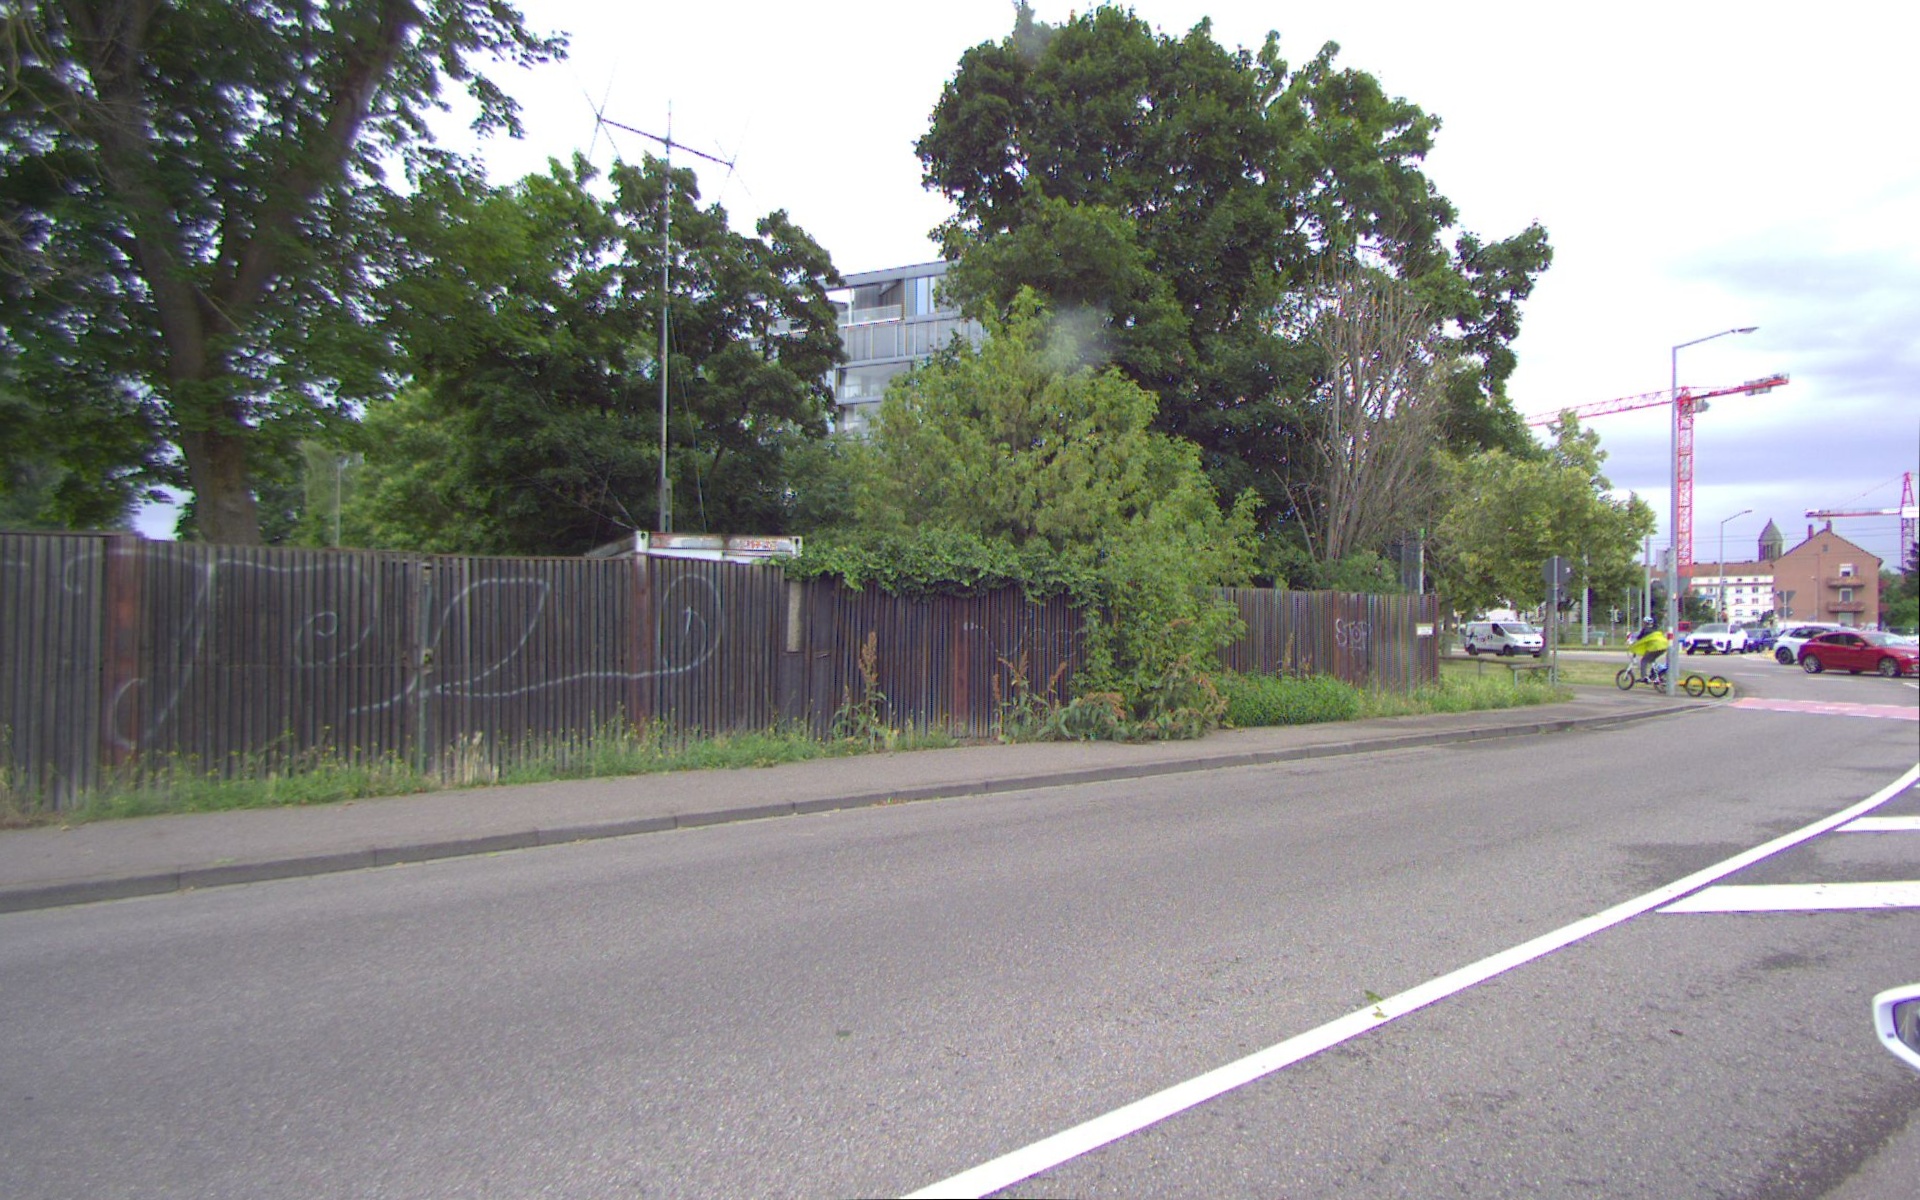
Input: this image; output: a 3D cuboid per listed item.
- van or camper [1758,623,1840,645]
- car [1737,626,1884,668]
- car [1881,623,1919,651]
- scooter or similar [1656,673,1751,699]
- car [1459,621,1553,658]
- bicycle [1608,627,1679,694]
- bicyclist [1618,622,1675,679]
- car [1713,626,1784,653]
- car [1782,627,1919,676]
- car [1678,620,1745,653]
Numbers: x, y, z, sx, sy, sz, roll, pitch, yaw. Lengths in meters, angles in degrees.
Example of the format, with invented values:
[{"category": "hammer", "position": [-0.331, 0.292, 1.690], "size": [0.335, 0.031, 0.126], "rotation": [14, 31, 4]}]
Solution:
[{"category": "van or camper", "position": [82.704, 3.326, 99.144], "size": [1.969, 2.040, 6.171], "rotation": [1, -1, -19]}, {"category": "car", "position": [33.241, 1.802, 39.393], "size": [1.970, 1.528, 3.981], "rotation": [1, -1, -21]}, {"category": "car", "position": [58.966, 2.248, 60.681], "size": [4.580, 1.656, 2.001], "rotation": [0, -1, 10]}, {"category": "scooter or similar", "position": [17.702, 2.036, 23.958], "size": [0.909, 0.511, 1.608], "rotation": [1, -1, -13]}, {"category": "car", "position": [29.672, 2.133, 54.782], "size": [2.060, 1.925, 4.842], "rotation": [1, -1, -8]}, {"category": "bicycle", "position": [17.353, 1.515, 25.539], "size": [0.595, 1.633, 1.478], "rotation": [1, -1, -13]}, {"category": "bicyclist", "position": [17.382, 1.270, 25.438], "size": [0.604, 1.420, 1.062], "rotation": [1, -1, -13]}, {"category": "car", "position": [45.746, 2.288, 58.283], "size": [3.953, 1.509, 1.922], "rotation": [1, -1, -30]}, {"category": "car", "position": [29.684, 1.641, 32.847], "size": [1.961, 1.483, 4.357], "rotation": [0, -1, -2]}, {"category": "car", "position": [40.549, 1.946, 54.172], "size": [4.152, 1.706, 1.916], "rotation": [1, -1, -38]}]
